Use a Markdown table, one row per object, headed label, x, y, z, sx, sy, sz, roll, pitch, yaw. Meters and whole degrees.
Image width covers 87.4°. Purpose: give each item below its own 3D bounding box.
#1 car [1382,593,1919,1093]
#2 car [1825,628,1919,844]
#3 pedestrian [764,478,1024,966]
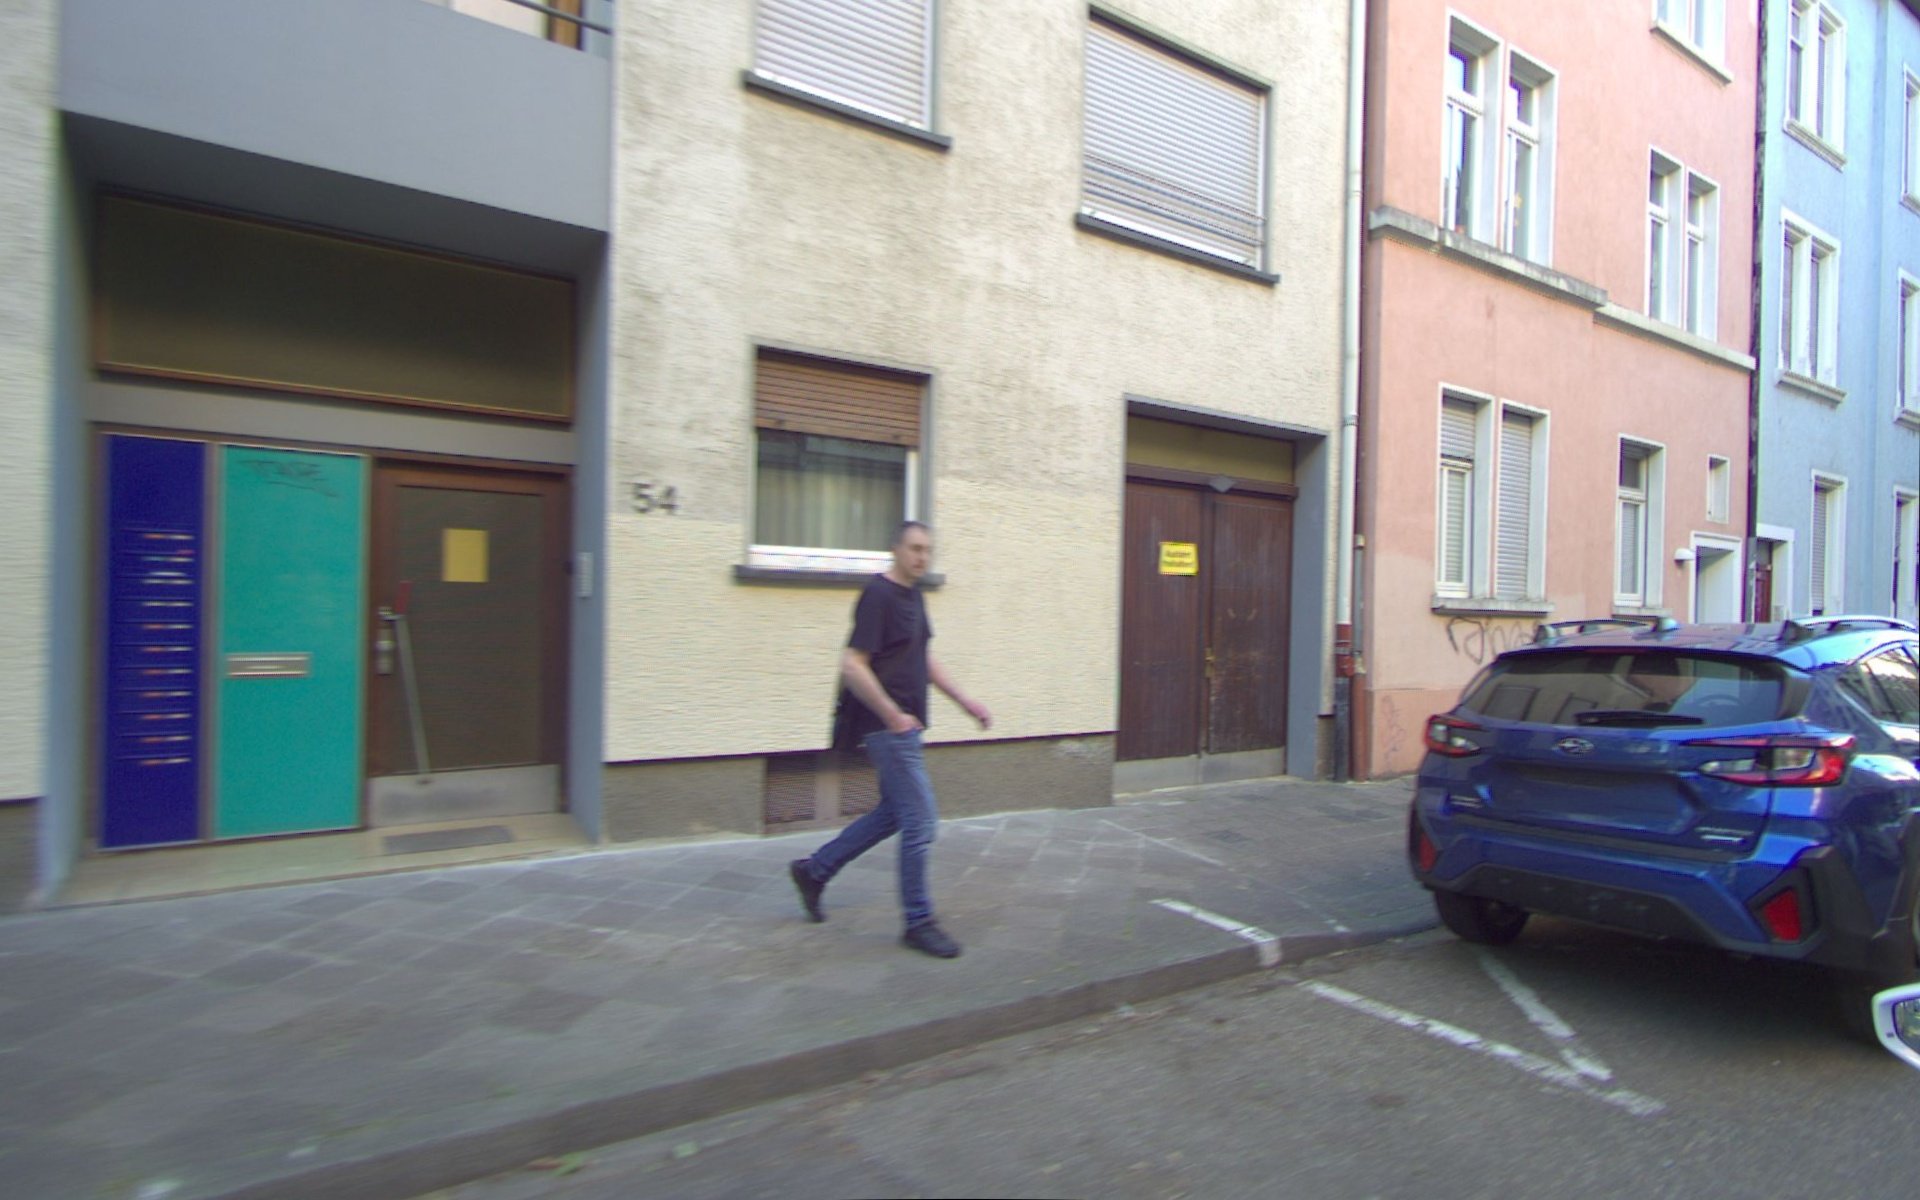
| label | x | y | z | sx | sy | sz | roll | pitch | yaw |
| --- | --- | --- | --- | --- | --- | --- | --- | --- | --- |
| car | 4.188 | 0.836 | 5.097 | 4.333 | 1.560 | 1.719 | 2 | -2 | -34 |
| car | 8.862 | 1.037 | 8.145 | 4.367 | 1.532 | 1.665 | 2 | -1 | -33 |
| pedestrian | -0.260 | 0.469 | 4.316 | 0.892 | 1.864 | 0.673 | 0 | -1 | 21 |
